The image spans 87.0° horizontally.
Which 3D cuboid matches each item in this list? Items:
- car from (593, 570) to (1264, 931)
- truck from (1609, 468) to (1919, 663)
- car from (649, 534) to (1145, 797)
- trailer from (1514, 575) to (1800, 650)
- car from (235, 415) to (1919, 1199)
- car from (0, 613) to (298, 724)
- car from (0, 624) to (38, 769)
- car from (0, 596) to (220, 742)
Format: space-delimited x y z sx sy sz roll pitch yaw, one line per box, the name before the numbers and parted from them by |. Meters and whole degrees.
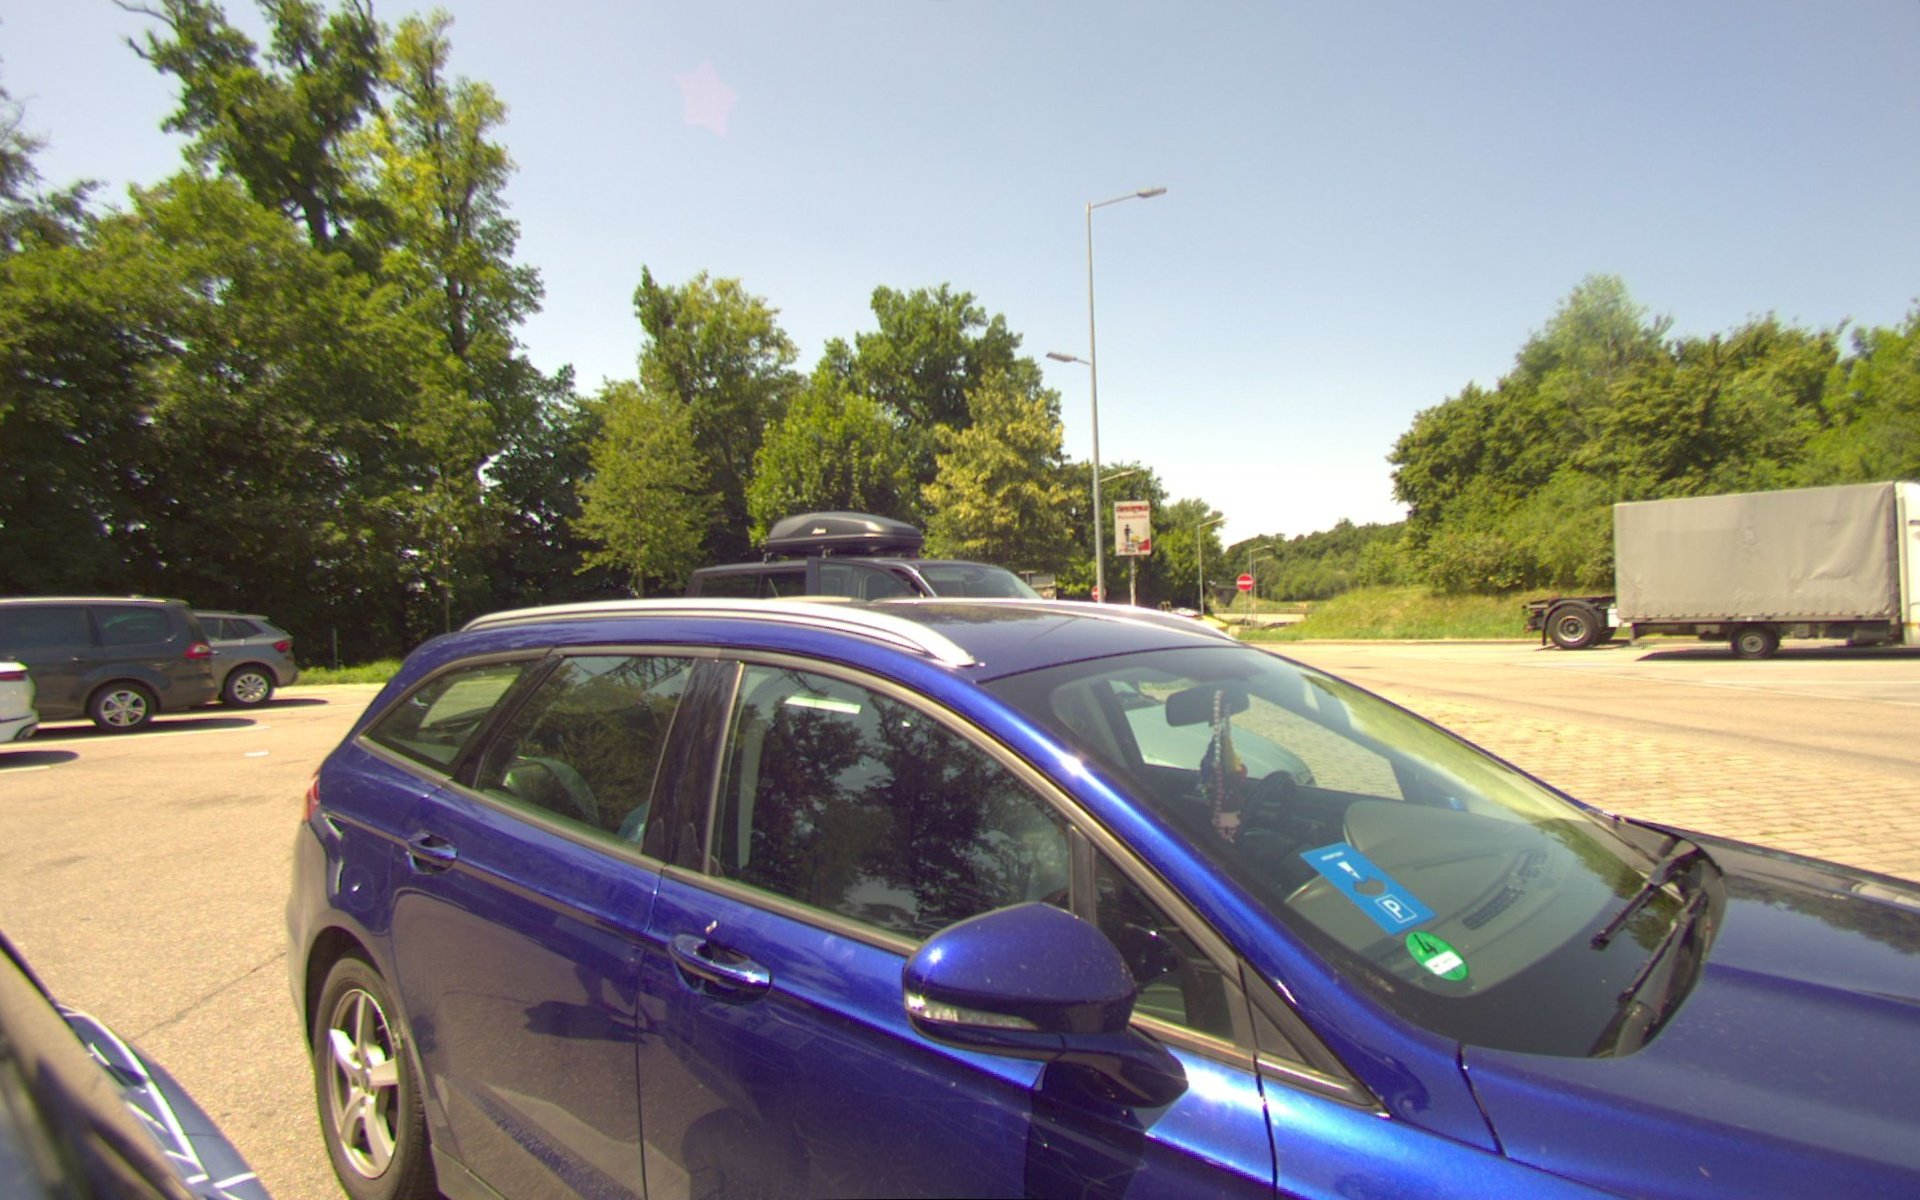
car | -0.382 0.648 5.821 3.739 1.424 1.587 -2 -1 40
truck | 16.694 -0.613 18.859 7.308 3.258 2.294 -5 -2 43
car | -0.749 0.532 9.432 4.427 1.875 2.022 -2 -1 40
trailer | 16.315 0.353 23.932 5.393 1.608 1.576 -2 -1 41
car | 0.222 0.648 2.100 4.427 1.455 1.763 -2 -1 40
car | -12.613 0.968 15.628 3.753 1.488 1.743 0 -1 -45
car | -10.977 0.939 9.214 3.753 1.377 1.804 0 -1 -45
car | -11.730 0.832 12.603 3.830 1.703 1.883 0 -2 -45
